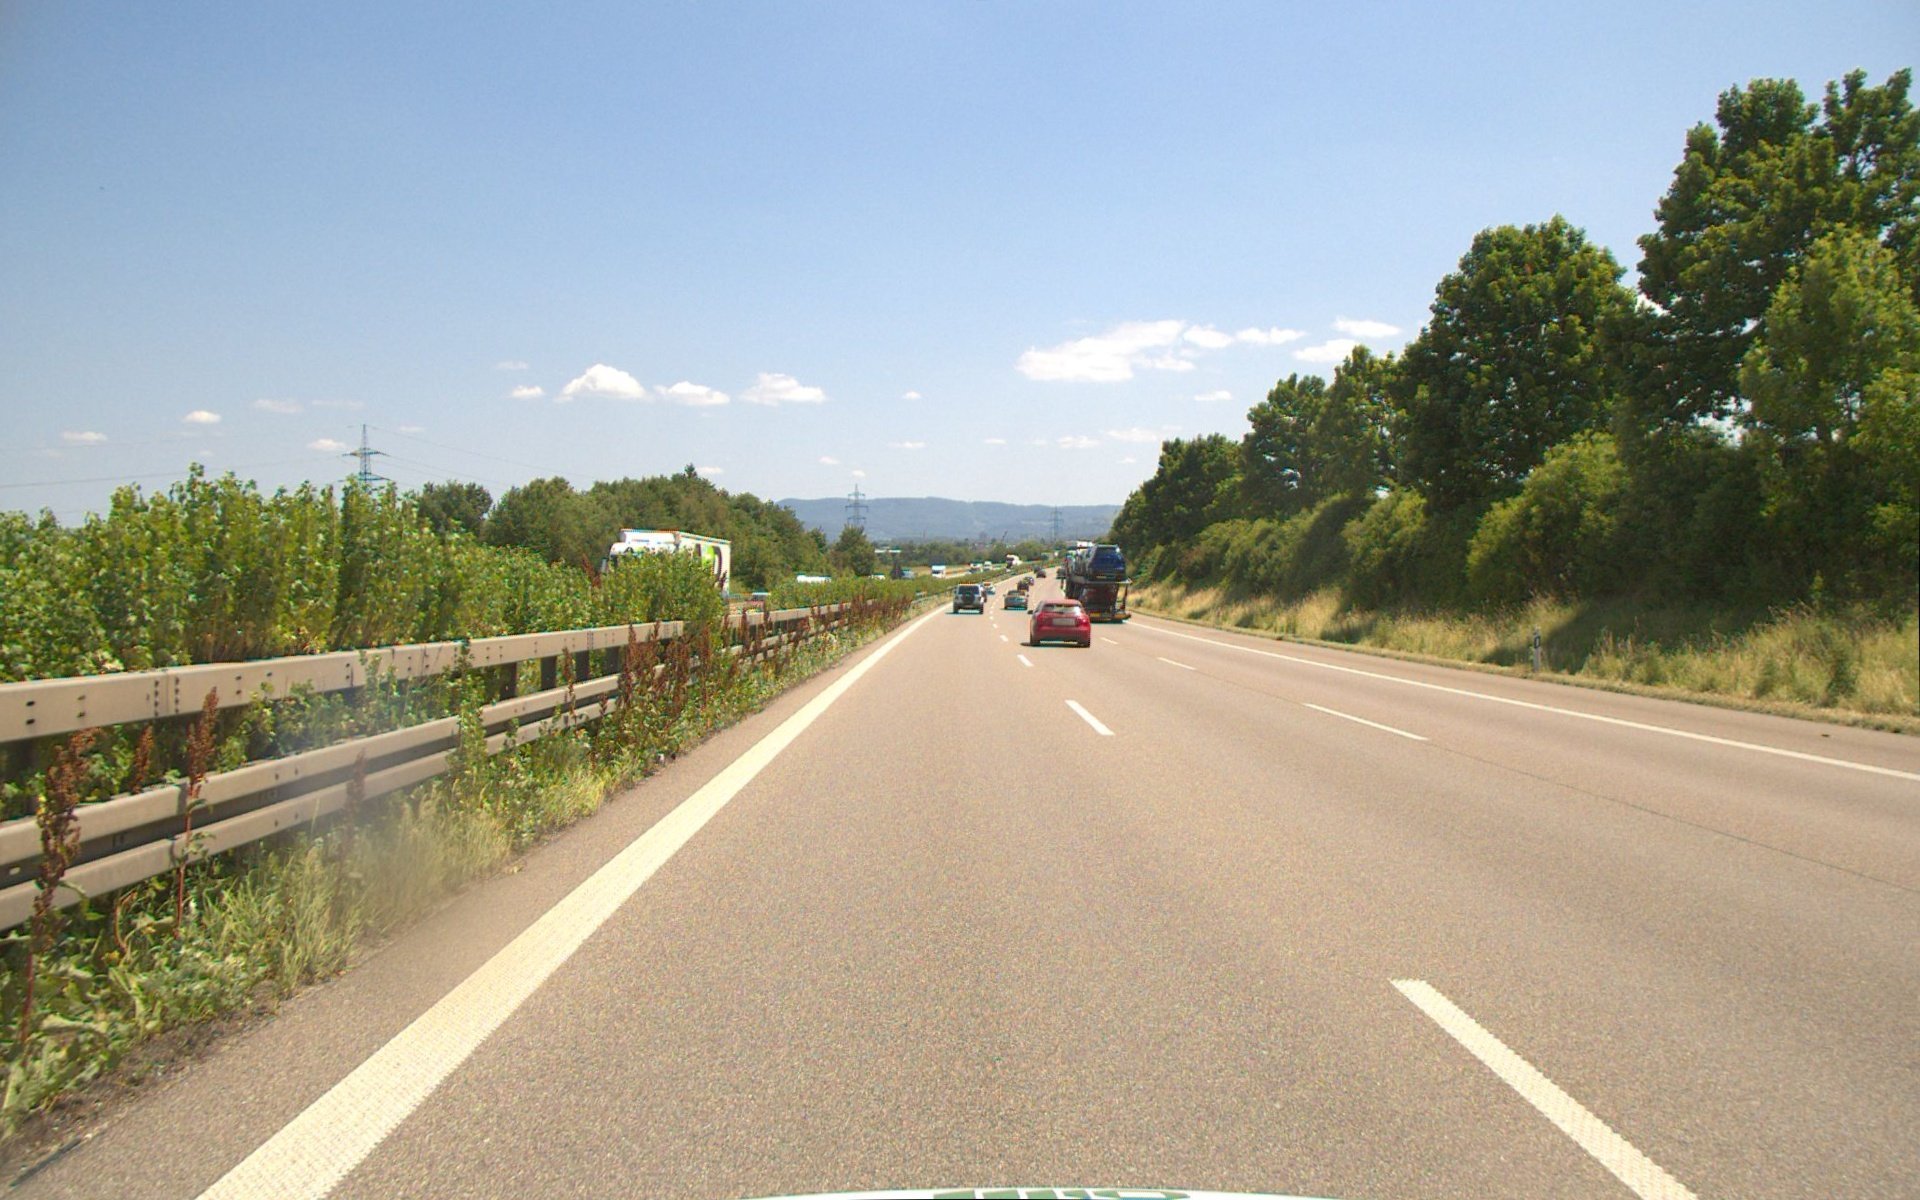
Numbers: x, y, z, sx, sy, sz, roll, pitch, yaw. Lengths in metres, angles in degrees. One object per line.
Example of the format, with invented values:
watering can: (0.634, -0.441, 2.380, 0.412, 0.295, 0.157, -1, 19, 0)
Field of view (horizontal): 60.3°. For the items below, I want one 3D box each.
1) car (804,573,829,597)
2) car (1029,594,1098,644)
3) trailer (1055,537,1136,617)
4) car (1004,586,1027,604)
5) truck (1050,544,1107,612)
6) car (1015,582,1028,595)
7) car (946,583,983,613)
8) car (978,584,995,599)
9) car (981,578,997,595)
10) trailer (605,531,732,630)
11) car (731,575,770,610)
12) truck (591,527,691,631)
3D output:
car: (-11.385, -1.210, 131.287, 1.595, 1.860, 3.770, 1, 1, 1)
car: (3.170, 0.566, 51.219, 1.652, 1.403, 3.946, 1, 1, -3)
trailer: (7.414, -1.296, 92.947, 2.797, 4.063, 15.392, 1, 1, -2)
car: (4.140, -0.364, 123.569, 1.423, 1.289, 3.538, 1, 1, -2)
truck: (7.163, -1.337, 100.575, 2.698, 3.920, 6.642, 1, 1, -2)
car: (8.383, -1.539, 224.938, 1.601, 1.734, 3.403, 1, 1, 5)
car: (0.253, -0.150, 105.496, 2.042, 1.861, 4.750, 1, 1, -4)
car: (2.438, -0.815, 151.833, 1.425, 1.289, 3.339, 1, 1, 3)
car: (3.539, -1.614, 199.329, 1.662, 2.049, 3.825, 1, 1, 5)
trailer: (-13.326, -0.934, 77.091, 3.127, 4.147, 14.045, 1, 1, 1)
car: (-12.567, -0.491, 99.368, 1.801, 2.049, 4.000, 1, 1, -1)
truck: (-13.489, -0.897, 70.403, 3.110, 4.181, 5.227, 1, 1, 1)
